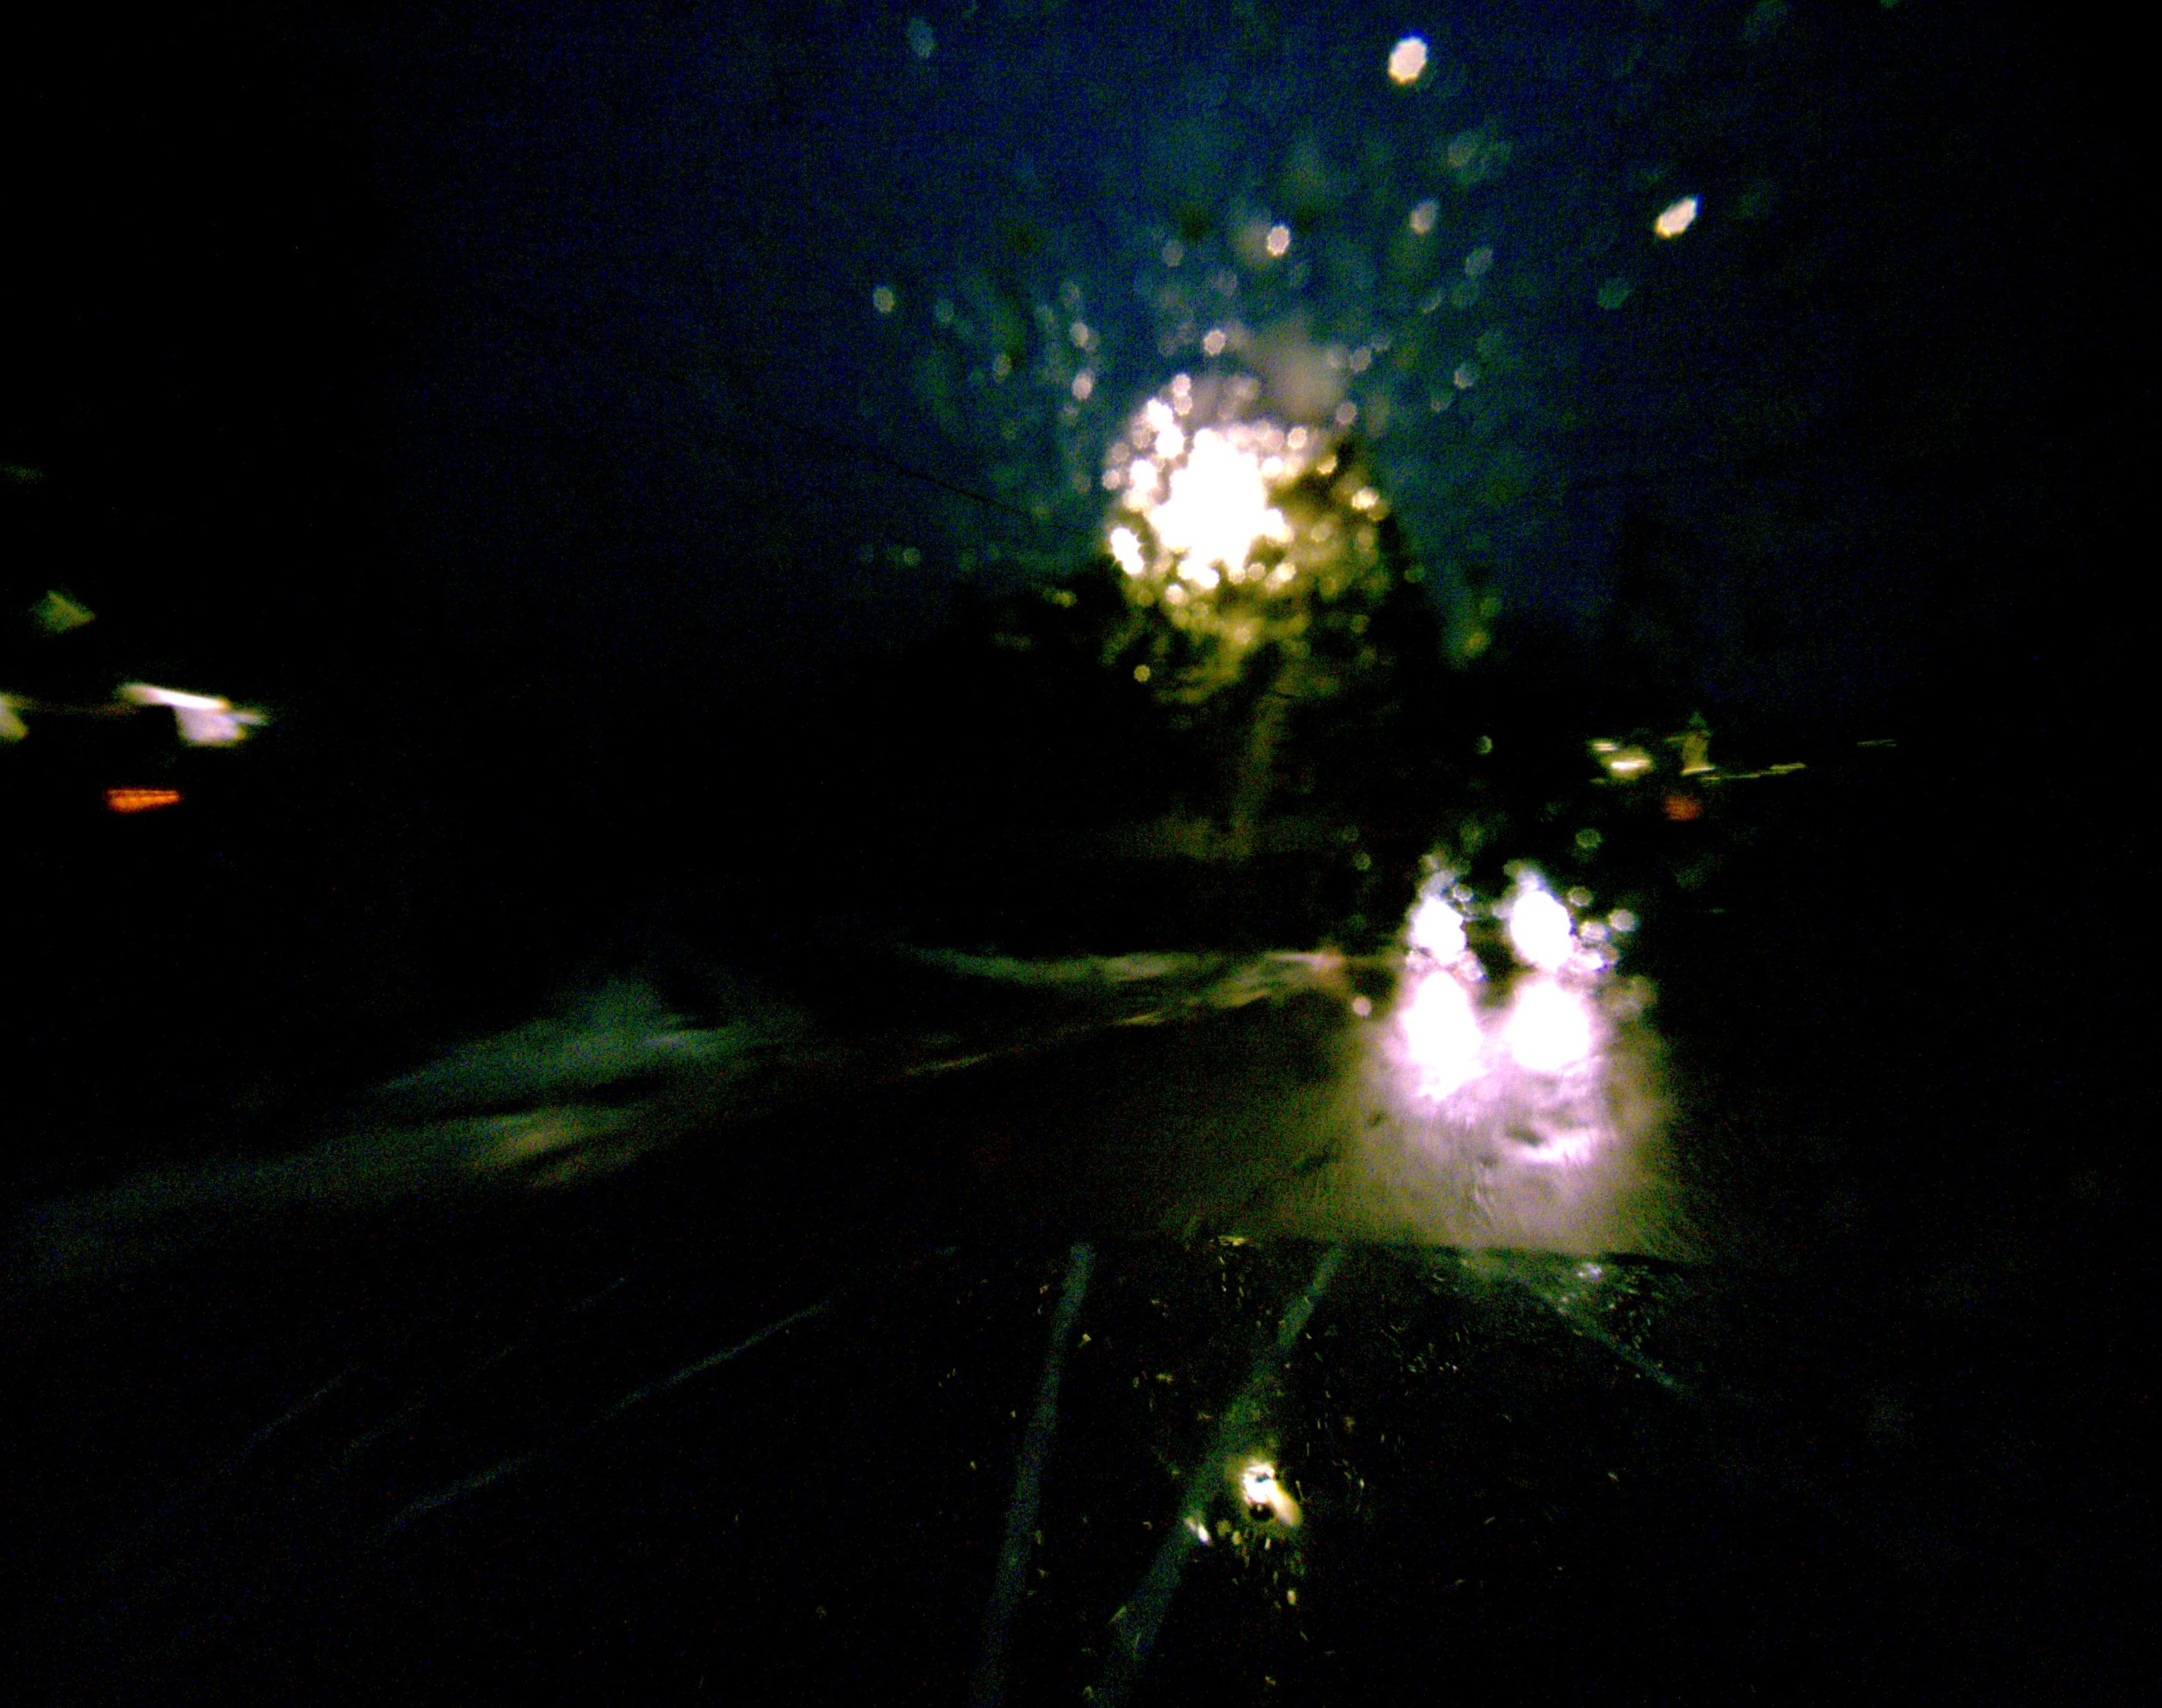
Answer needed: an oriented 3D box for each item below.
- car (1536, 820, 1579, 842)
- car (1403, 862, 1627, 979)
[{"bbox_3d":[36.373,-1.776,58.130,1.752,1.405,4.083,-2,4,17],"label":"car"},{"bbox_3d":[6.801,0.825,11.603,1.994,1.373,4.944,0,0,42],"label":"car"}]
